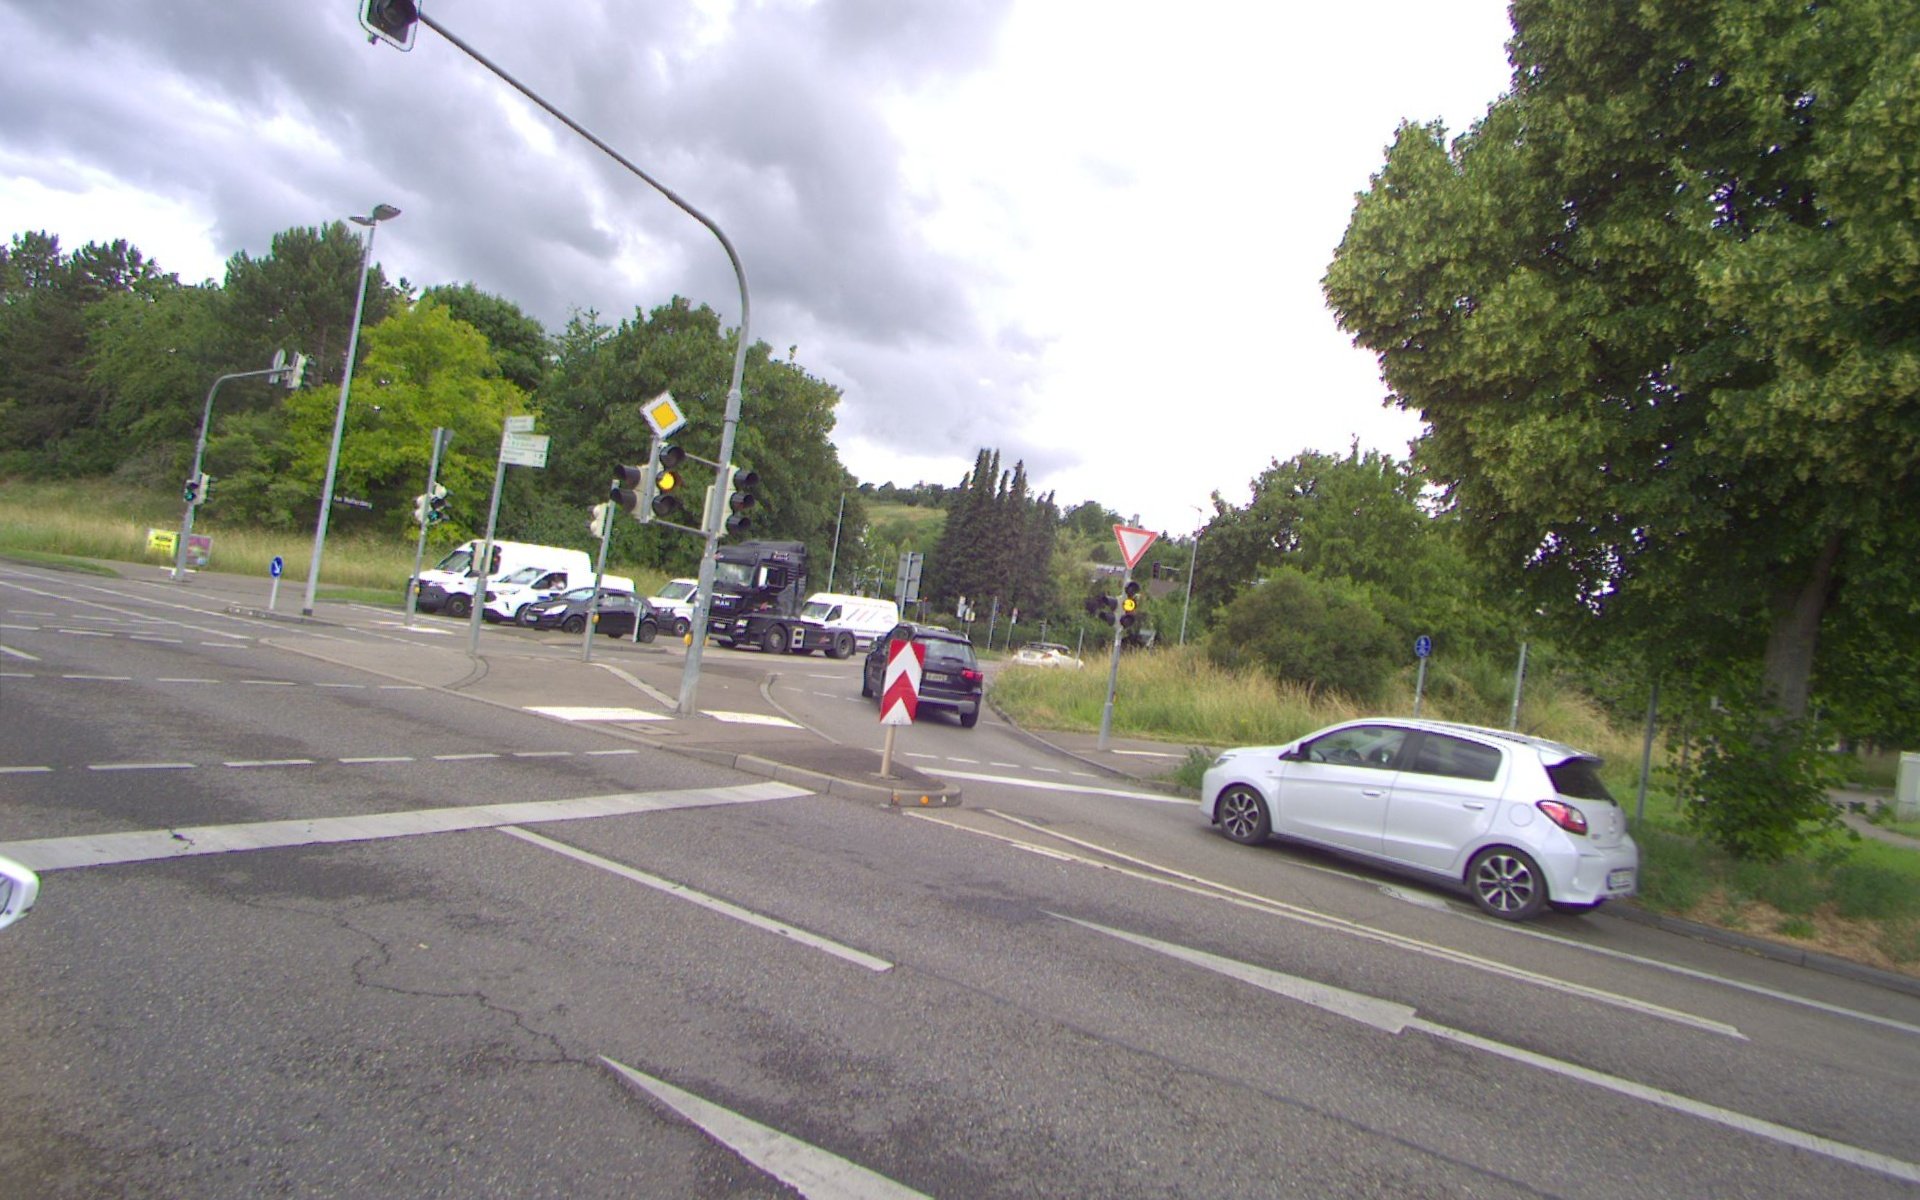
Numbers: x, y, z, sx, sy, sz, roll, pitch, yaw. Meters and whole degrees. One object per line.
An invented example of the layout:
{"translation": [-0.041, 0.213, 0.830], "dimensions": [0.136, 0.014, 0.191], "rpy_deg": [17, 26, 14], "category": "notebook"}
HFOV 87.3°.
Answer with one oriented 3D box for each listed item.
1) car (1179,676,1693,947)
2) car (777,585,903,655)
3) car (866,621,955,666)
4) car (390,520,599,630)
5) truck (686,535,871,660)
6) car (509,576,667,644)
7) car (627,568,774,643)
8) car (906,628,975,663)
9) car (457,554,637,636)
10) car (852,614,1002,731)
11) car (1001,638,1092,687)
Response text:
{"translation": [4.219, 1.827, 9.365], "dimensions": [1.778, 1.457, 3.790], "rpy_deg": [15, -5, -40], "category": "car"}
{"translation": [-5.661, 1.054, 48.613], "dimensions": [2.160, 2.640, 6.509], "rpy_deg": [7, -1, 32], "category": "car"}
{"translation": [-2.028, 1.842, 42.111], "dimensions": [1.703, 1.453, 3.927], "rpy_deg": [7, -1, 31], "category": "car"}
{"translation": [-15.331, -0.735, 33.592], "dimensions": [2.100, 2.814, 5.903], "rpy_deg": [7, -1, 32], "category": "car"}
{"translation": [-6.207, 0.026, 35.335], "dimensions": [2.682, 3.580, 6.061], "rpy_deg": [7, -1, 32], "category": "truck"}
{"translation": [-10.601, 0.337, 28.924], "dimensions": [1.703, 1.453, 3.927], "rpy_deg": [7, -1, 31], "category": "car"}
{"translation": [-10.421, 0.291, 40.899], "dimensions": [2.100, 2.316, 5.709], "rpy_deg": [7, -1, 32], "category": "car"}
{"translation": [-1.008, 2.494, 54.907], "dimensions": [1.704, 1.453, 3.925], "rpy_deg": [7, -1, 33], "category": "car"}
{"translation": [-12.928, -0.093, 31.810], "dimensions": [1.999, 1.918, 4.862], "rpy_deg": [7, -1, 31], "category": "car"}
{"translation": [-0.794, 1.304, 19.767], "dimensions": [1.761, 1.667, 4.414], "rpy_deg": [11, -2, -14], "category": "car"}
{"translation": [3.491, 2.526, 39.876], "dimensions": [1.756, 1.553, 4.300], "rpy_deg": [8, -1, 30], "category": "car"}
